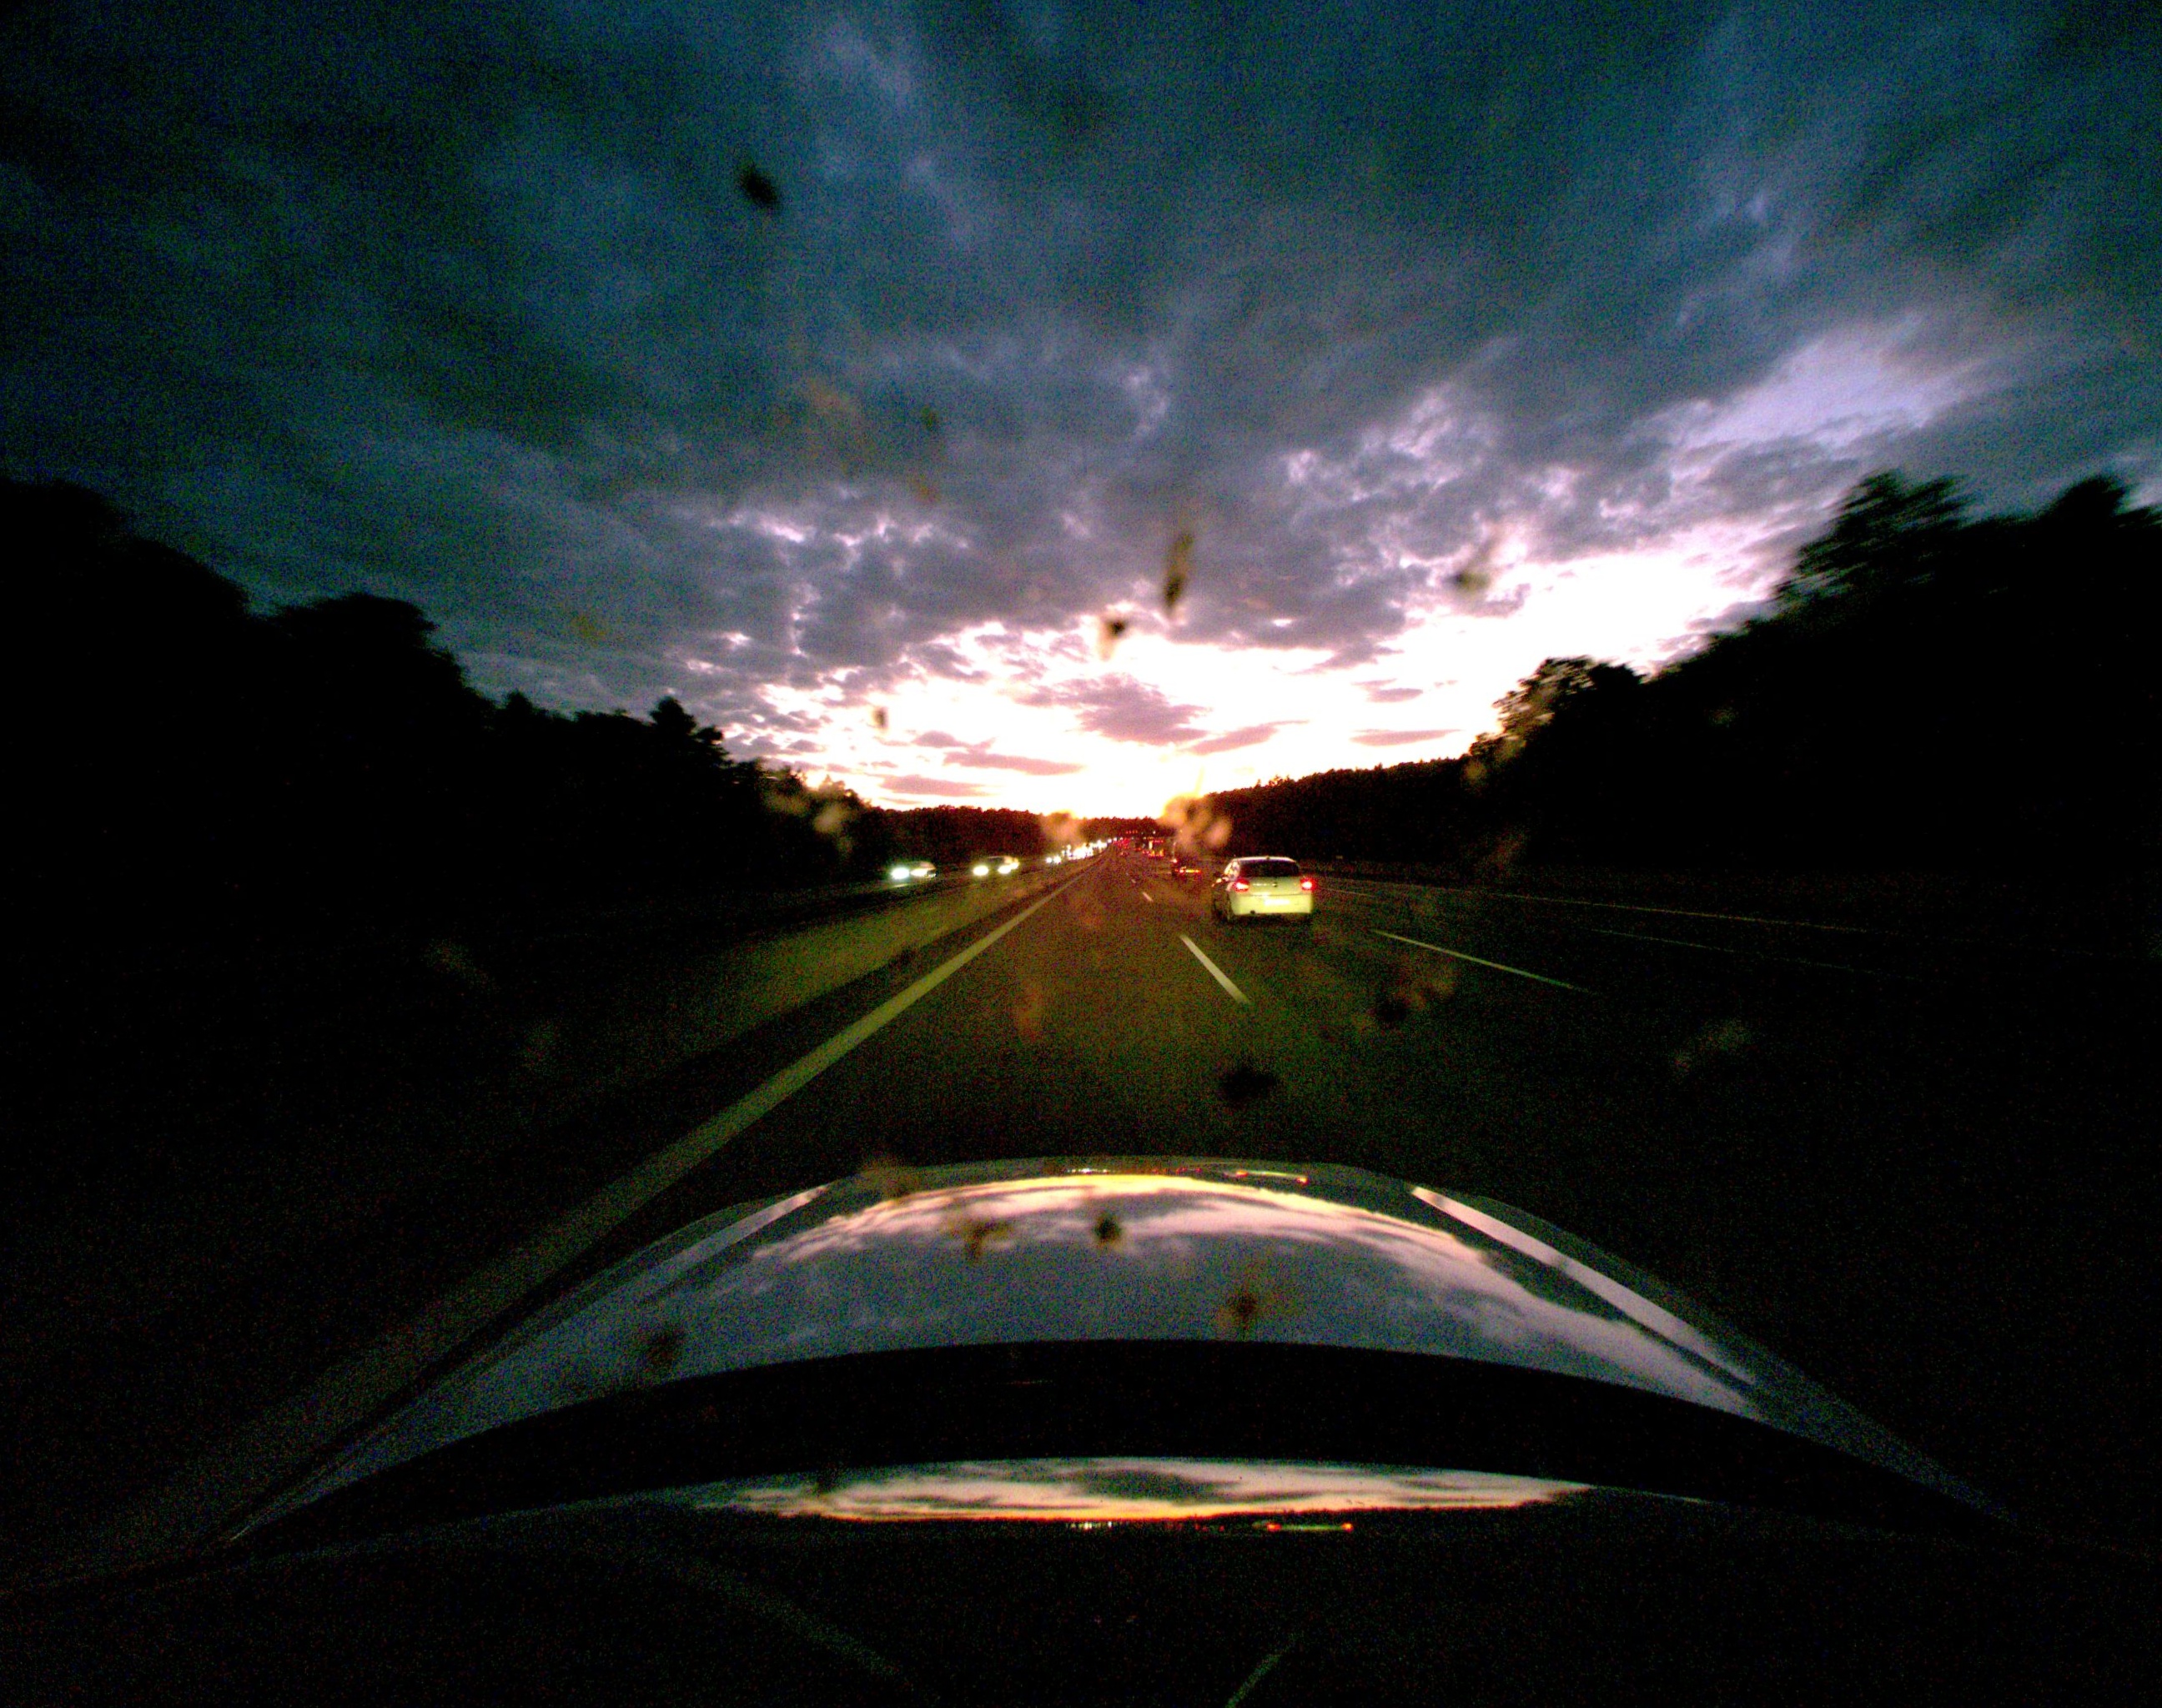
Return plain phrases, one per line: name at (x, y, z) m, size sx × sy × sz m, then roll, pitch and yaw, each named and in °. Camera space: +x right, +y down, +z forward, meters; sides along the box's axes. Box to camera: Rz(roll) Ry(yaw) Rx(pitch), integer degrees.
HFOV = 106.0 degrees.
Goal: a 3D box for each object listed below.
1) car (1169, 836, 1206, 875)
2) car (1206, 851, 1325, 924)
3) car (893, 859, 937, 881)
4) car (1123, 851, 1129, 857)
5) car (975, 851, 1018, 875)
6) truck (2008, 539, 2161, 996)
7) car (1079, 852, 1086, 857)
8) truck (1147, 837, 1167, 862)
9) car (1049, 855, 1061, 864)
car at (7.184, 0.094, 55.396) m, size 2.156 × 2.419 × 5.571 m, roll -2°, pitch 0°, yaw 4°
car at (3.998, 0.673, 18.245) m, size 1.853 × 1.442 × 3.721 m, roll -1°, pitch 0°, yaw 1°
car at (-11.994, 1.150, 59.252) m, size 1.904 × 1.424 × 4.751 m, roll -2°, pitch 0°, yaw 4°
car at (12.820, 0.002, 231.973) m, size 1.828 × 1.570 × 4.005 m, roll -2°, pitch 0°, yaw 4°
car at (-5.414, 0.532, 52.612) m, size 1.986 × 1.424 × 5.148 m, roll -2°, pitch 0°, yaw 2°
truck at (11.006, -0.800, 3.083) m, size 2.874 × 4.100 × 10.837 m, roll -1°, pitch 0°, yaw 2°
car at (0.545, 0.151, 250.454) m, size 1.828 × 1.438 × 4.005 m, roll -2°, pitch 0°, yaw 4°
truck at (18.877, -1.150, 203.404) m, size 4.132 × 5.856 × 14.306 m, roll -2°, pitch 0°, yaw 3°
car at (-4.613, 0.940, 145.370) m, size 1.829 × 1.438 × 4.002 m, roll -2°, pitch 0°, yaw 2°
